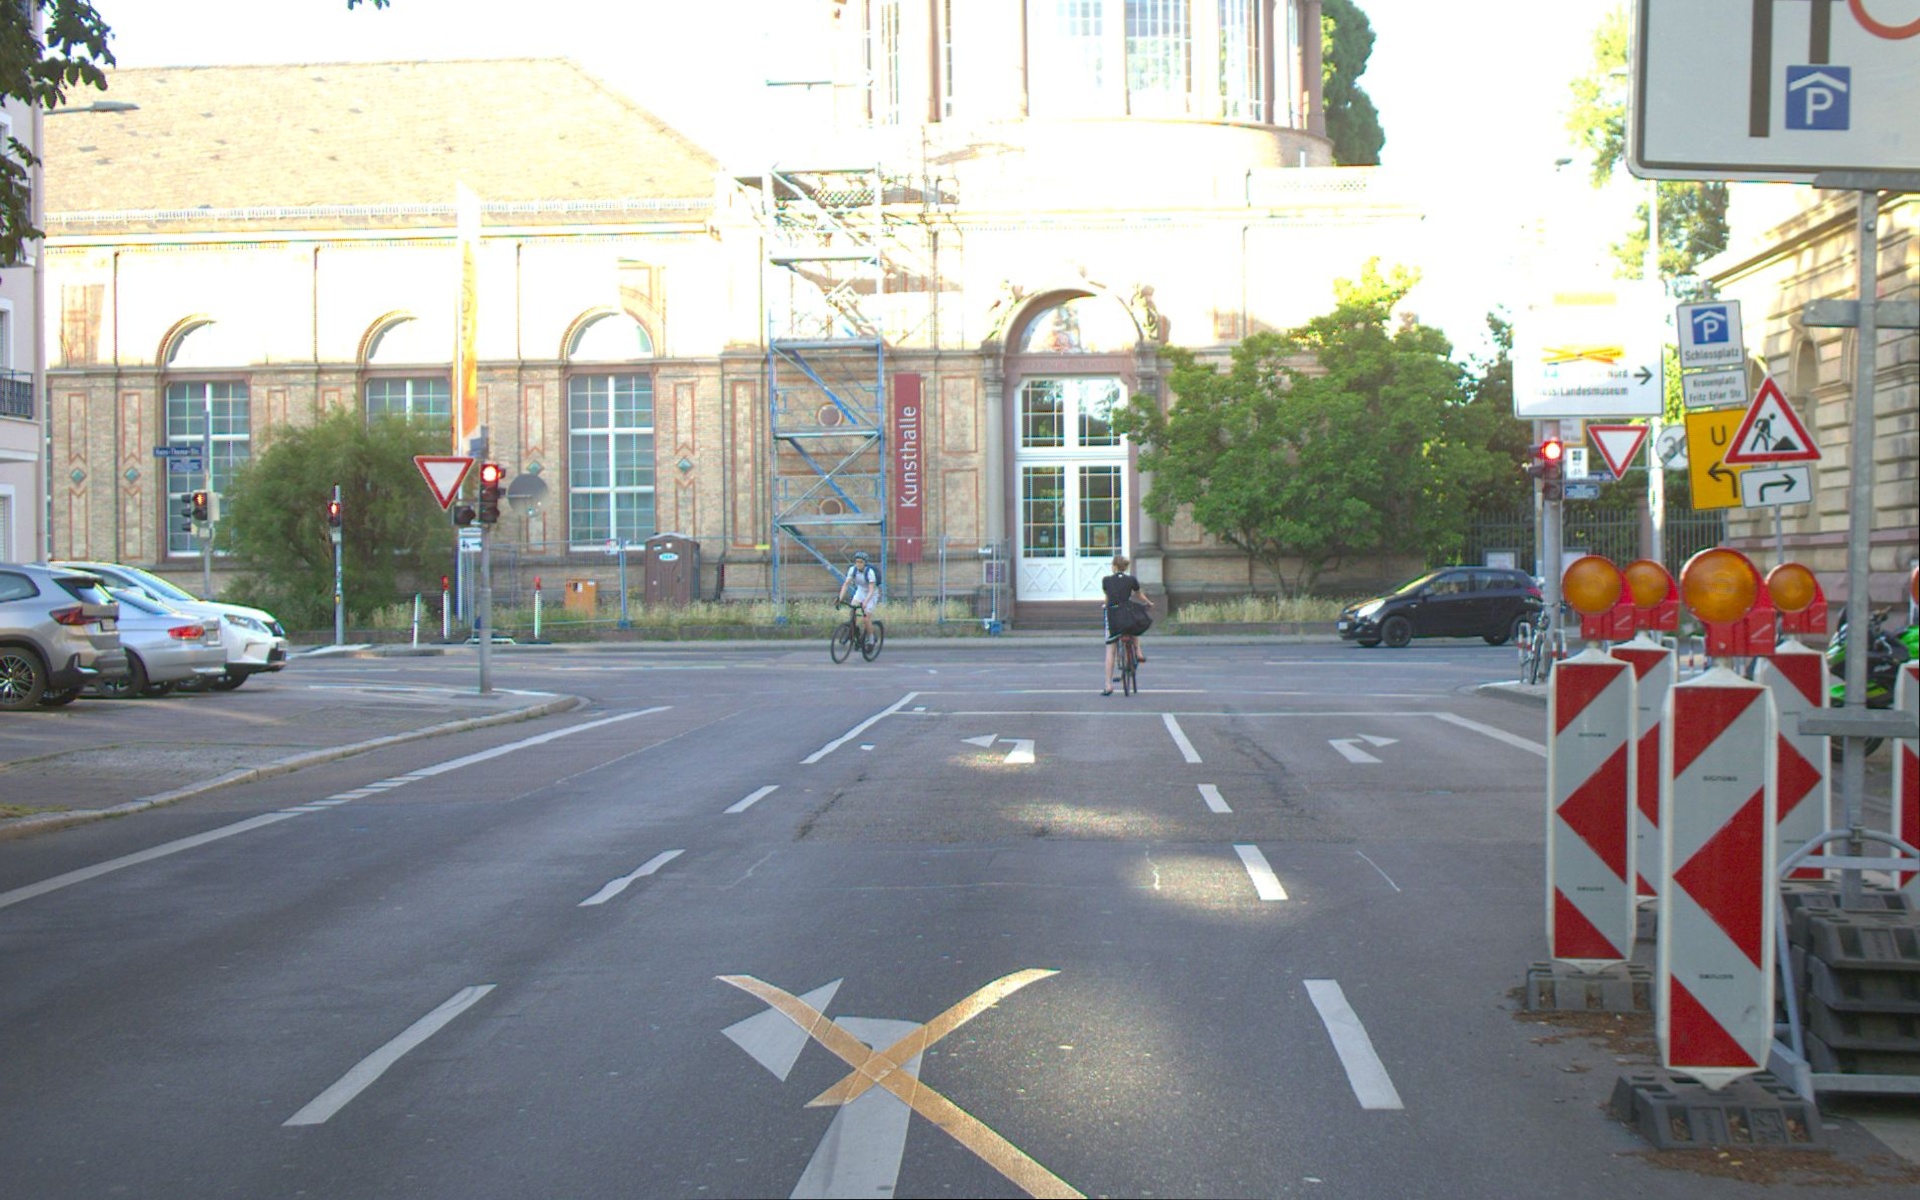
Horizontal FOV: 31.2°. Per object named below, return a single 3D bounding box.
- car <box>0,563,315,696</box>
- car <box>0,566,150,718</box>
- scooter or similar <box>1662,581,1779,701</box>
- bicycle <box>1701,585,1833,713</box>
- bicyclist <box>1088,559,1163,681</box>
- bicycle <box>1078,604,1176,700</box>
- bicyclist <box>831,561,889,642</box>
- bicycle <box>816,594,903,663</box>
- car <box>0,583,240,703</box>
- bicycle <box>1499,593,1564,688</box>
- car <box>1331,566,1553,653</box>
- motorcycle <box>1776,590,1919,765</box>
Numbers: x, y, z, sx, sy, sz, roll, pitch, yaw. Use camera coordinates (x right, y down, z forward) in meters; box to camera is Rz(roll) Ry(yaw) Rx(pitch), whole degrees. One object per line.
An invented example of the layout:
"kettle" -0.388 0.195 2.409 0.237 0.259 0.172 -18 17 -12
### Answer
"car" -10.803 0.362 44.659 4.440 1.635 1.942 1 1 1
"car" -11.328 0.420 37.684 4.418 1.599 1.916 1 1 1
"scooter or similar" 7.711 0.411 34.884 1.130 1.191 0.584 -1 1 10
"bicycle" 7.797 0.457 33.303 0.827 1.130 1.944 -4 1 3
"bicyclist" 2.061 0.251 42.718 0.716 1.497 0.850 -1 -1 17
"bicycle" 2.088 0.649 42.752 0.712 1.152 2.067 -1 -1 17
"bicyclist" -1.712 0.031 58.874 0.626 1.360 0.928 -1 -1 25
"bicycle" -1.711 0.487 58.826 0.625 1.152 2.050 -1 -1 25
"car" -11.127 0.503 41.995 4.266 1.376 1.736 1 1 1
"bicycle" 7.343 0.526 44.214 0.582 1.184 1.920 -1 -1 3
"car" 9.010 0.173 64.454 3.840 1.466 1.663 -2 1 -2
"motorcycle" 7.025 0.534 24.681 2.101 1.211 0.709 -3 0 32
